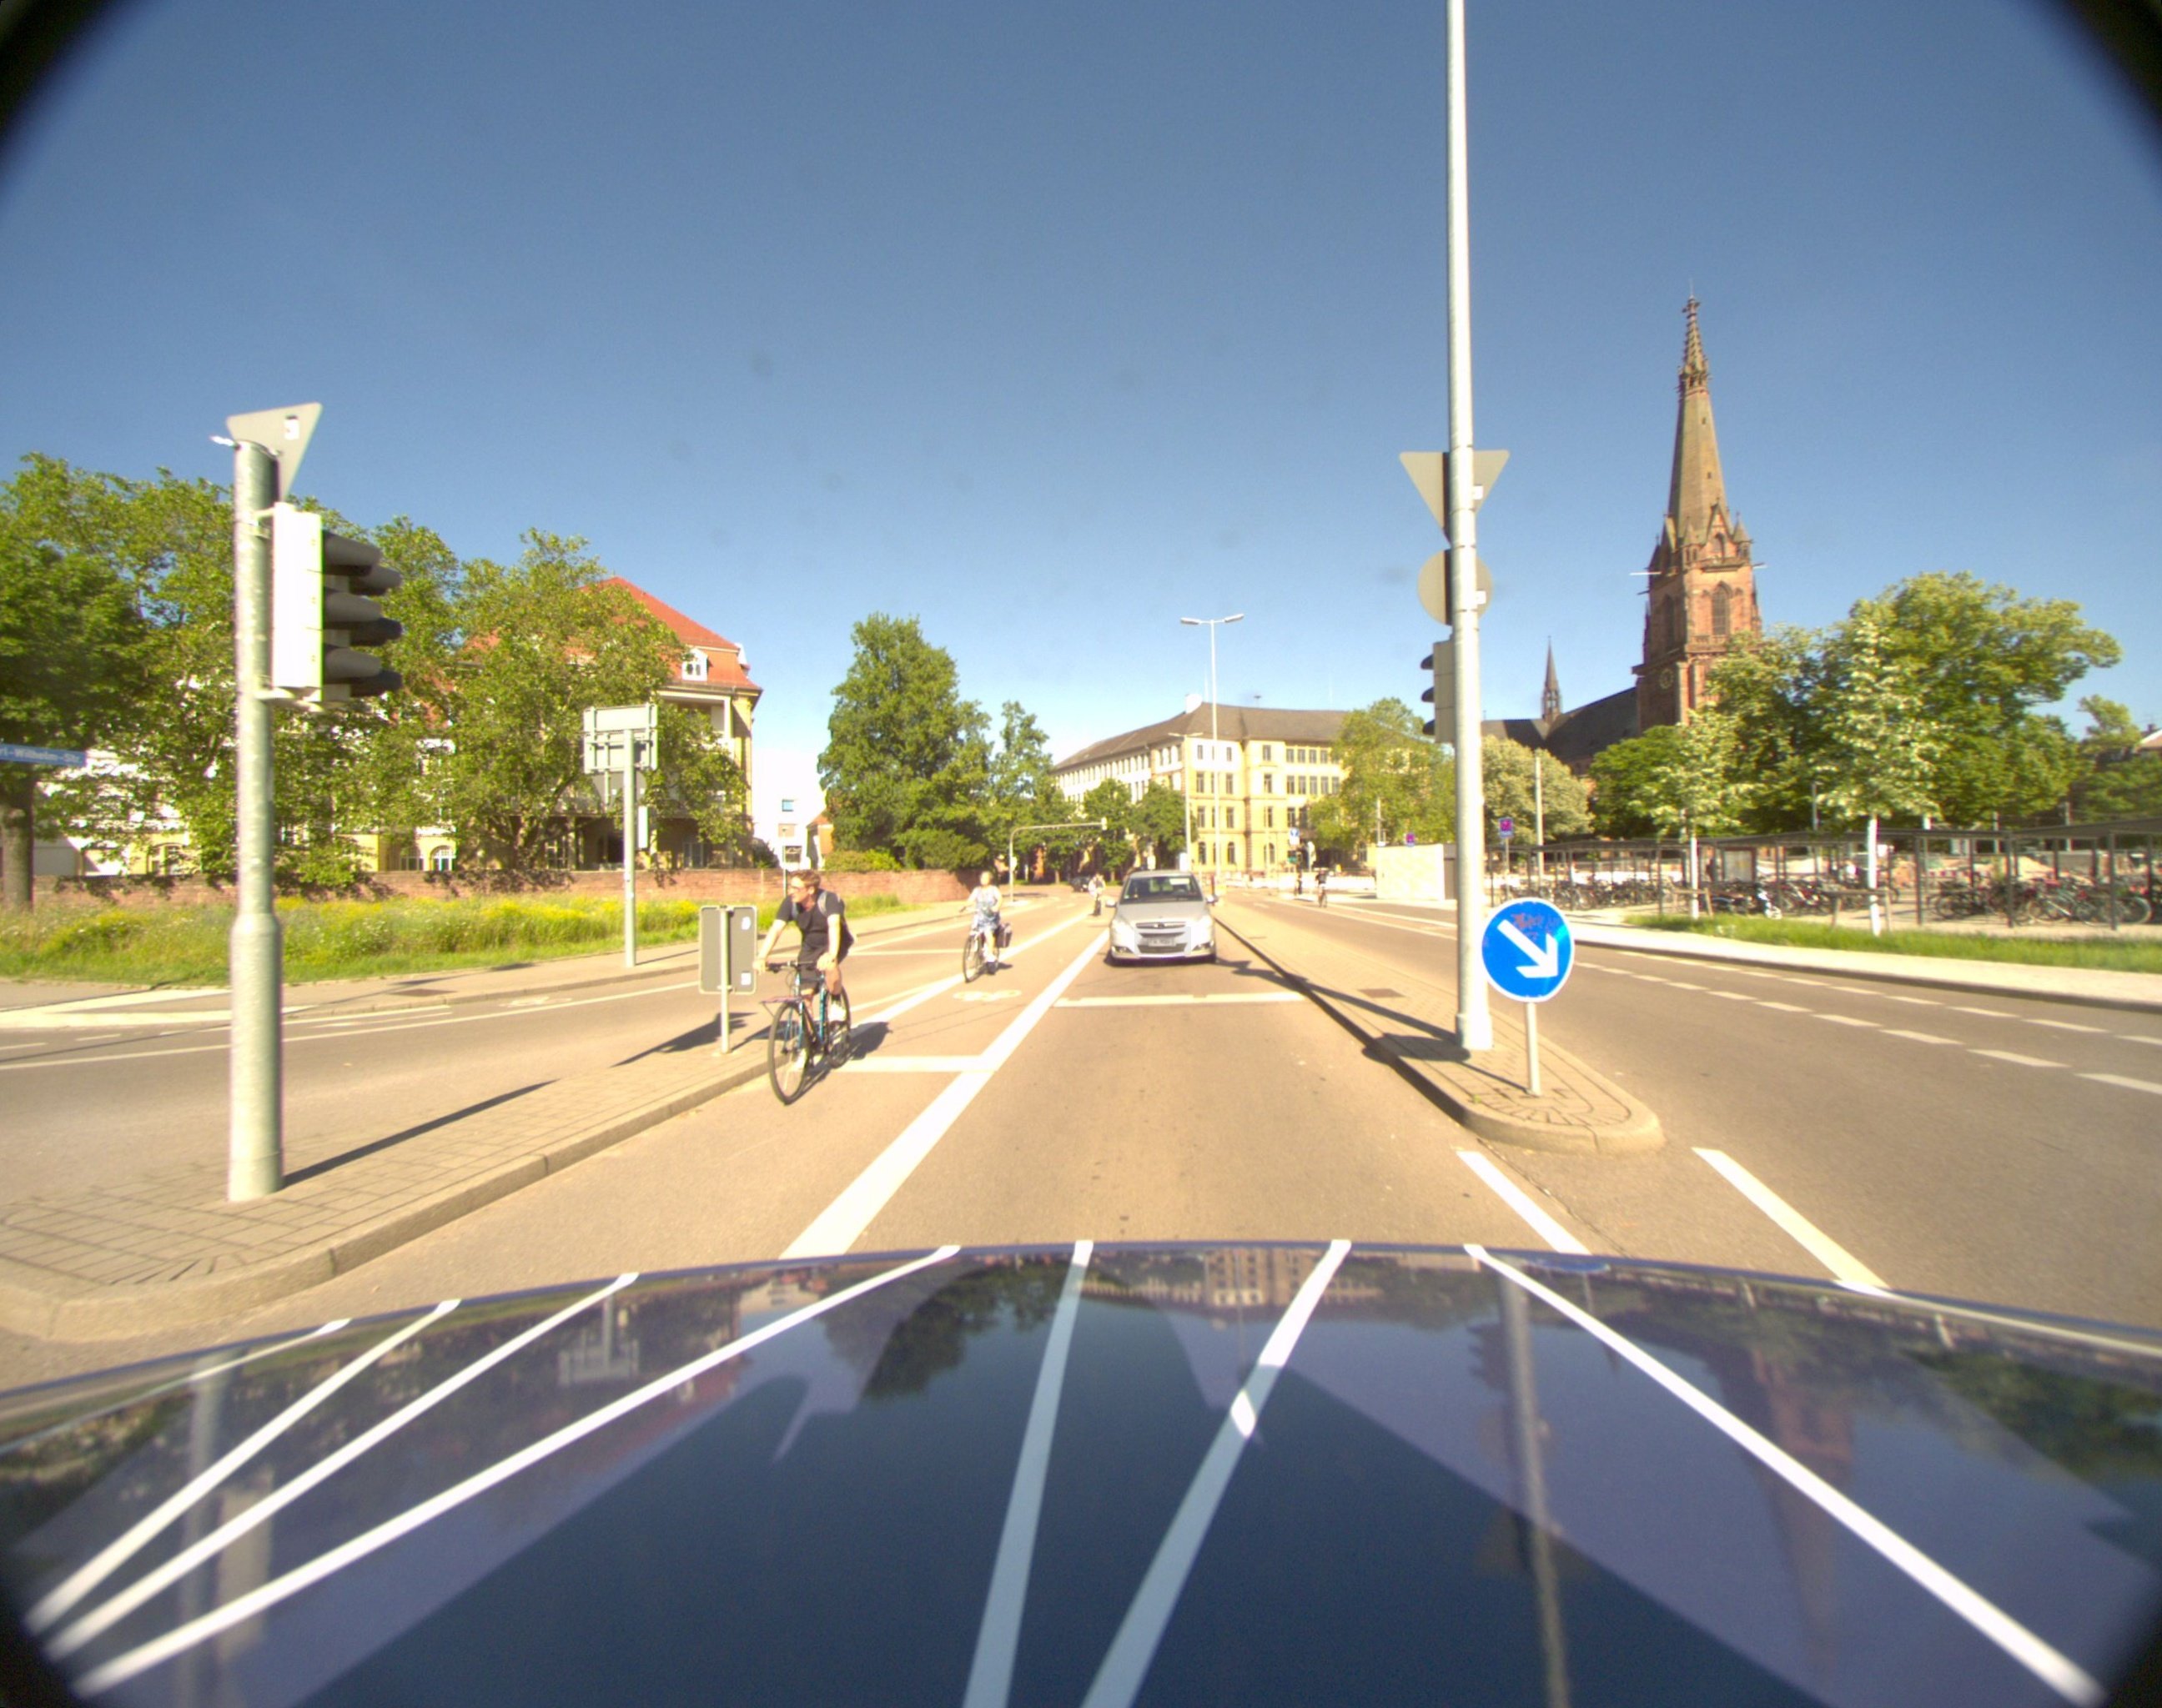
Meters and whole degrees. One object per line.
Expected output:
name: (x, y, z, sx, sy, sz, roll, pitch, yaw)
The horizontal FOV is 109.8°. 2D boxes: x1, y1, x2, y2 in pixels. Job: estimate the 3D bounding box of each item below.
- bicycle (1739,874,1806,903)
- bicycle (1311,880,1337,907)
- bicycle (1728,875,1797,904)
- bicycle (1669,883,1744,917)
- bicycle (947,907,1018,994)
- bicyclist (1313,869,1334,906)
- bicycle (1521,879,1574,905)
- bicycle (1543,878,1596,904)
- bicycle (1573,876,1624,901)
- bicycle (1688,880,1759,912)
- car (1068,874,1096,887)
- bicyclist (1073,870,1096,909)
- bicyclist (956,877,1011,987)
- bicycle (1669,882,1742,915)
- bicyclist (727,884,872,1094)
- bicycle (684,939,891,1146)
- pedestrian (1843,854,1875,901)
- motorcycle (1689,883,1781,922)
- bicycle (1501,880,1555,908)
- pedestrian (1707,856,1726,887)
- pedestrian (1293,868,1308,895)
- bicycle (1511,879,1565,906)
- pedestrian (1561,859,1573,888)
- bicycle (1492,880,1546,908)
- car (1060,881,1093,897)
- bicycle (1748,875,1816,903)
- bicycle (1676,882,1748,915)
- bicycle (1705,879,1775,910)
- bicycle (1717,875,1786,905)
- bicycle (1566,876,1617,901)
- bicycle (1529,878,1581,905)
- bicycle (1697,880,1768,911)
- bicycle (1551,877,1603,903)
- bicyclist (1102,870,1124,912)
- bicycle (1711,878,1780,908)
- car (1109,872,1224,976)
bicycle: (25.766, 1.263, 28.340, 0.569, 1.031, 1.784, 0, -1, -32)
bicycle: (10.810, 1.740, 33.840, 0.747, 1.158, 1.871, 0, -1, 6)
bicycle: (25.105, 1.298, 28.019, 0.569, 1.031, 1.784, 0, -1, -32)
bicycle: (20.303, 1.482, 24.705, 0.569, 1.031, 1.784, 0, -1, -32)
bicycle: (-1.517, 1.479, 12.041, 0.642, 1.158, 1.969, -2, -1, 6)
bicyclist: (10.809, 1.475, 33.886, 0.721, 1.611, 0.978, 0, -1, 6)
bicycle: (19.006, 1.537, 31.011, 0.569, 1.031, 1.784, 0, -1, -32)
bicycle: (20.576, 1.536, 32.026, 0.569, 1.031, 1.784, 0, -1, -32)
bicycle: (22.672, 1.488, 33.321, 0.569, 1.031, 1.784, 0, -1, -32)
bicycle: (22.216, 1.435, 26.288, 0.569, 1.031, 1.784, 0, -1, -32)
car: (0.125, 3.961, 112.825, 3.809, 1.805, 1.995, 0, -1, -41)
bicyclist: (0.143, 1.458, 31.231, 0.778, 1.542, 0.920, -2, -1, 6)
bicyclist: (-1.525, 1.203, 11.983, 0.642, 1.653, 0.777, -2, 0, 5)
bicycle: (20.688, 1.446, 25.197, 0.569, 1.031, 1.784, 0, -1, -32)
bicyclist: (-2.091, 0.959, 5.748, 0.642, 1.435, 0.954, -2, -3, 6)
bicycle: (-2.085, 1.293, 5.712, 0.642, 1.157, 1.872, -3, -3, 6)
pedestrian: (29.002, 0.875, 28.315, 0.619, 1.713, 0.680, -1, -1, -32)
motorcycle: (19.561, 1.428, 22.786, 0.596, 1.112, 1.981, -1, -1, -27)
bicycle: (17.773, 1.568, 30.251, 0.569, 1.031, 1.784, 0, -1, -32)
pedestrian: (35.177, 0.971, 42.063, 0.566, 1.645, 0.518, -3, -1, 6)
pedestrian: (14.310, 1.794, 49.572, 0.789, 1.671, 0.649, -3, -1, 7)
bicycle: (18.417, 1.550, 30.651, 0.569, 1.031, 1.784, 0, -1, -32)
pedestrian: (29.764, 1.192, 46.531, 0.537, 1.711, 0.684, -3, -6, 36)
bicycle: (17.214, 1.567, 29.911, 0.569, 1.031, 1.784, 0, -1, -31)
car: (-0.521, 3.635, 79.400, 2.002, 1.464, 4.292, -3, -1, -20)
bicycle: (26.454, 1.305, 28.693, 0.569, 1.031, 1.784, 0, -1, -32)
bicycle: (21.171, 1.480, 25.530, 0.569, 1.031, 1.784, 0, -1, -32)
bicycle: (23.333, 1.422, 26.944, 0.569, 1.031, 1.784, 0, -1, -32)
bicycle: (24.332, 1.294, 27.602, 0.569, 1.031, 1.784, 0, -1, -32)
bicycle: (22.158, 1.471, 33.023, 0.569, 1.031, 1.784, 0, -1, -32)
bicycle: (19.538, 1.536, 31.355, 0.569, 1.031, 1.784, 0, -1, -32)
bicycle: (22.802, 1.429, 26.627, 0.569, 1.031, 1.784, 0, -1, -32)
bicycle: (21.137, 1.525, 32.388, 0.569, 1.031, 1.784, 0, -1, -32)
bicyclist: (1.312, 1.504, 31.204, 0.784, 1.653, 0.777, -2, 0, 6)
bicycle: (23.831, 1.379, 27.279, 0.569, 1.031, 1.784, 0, -1, -32)
car: (1.618, 1.178, 14.392, 1.770, 1.584, 4.641, -2, -1, 7)
